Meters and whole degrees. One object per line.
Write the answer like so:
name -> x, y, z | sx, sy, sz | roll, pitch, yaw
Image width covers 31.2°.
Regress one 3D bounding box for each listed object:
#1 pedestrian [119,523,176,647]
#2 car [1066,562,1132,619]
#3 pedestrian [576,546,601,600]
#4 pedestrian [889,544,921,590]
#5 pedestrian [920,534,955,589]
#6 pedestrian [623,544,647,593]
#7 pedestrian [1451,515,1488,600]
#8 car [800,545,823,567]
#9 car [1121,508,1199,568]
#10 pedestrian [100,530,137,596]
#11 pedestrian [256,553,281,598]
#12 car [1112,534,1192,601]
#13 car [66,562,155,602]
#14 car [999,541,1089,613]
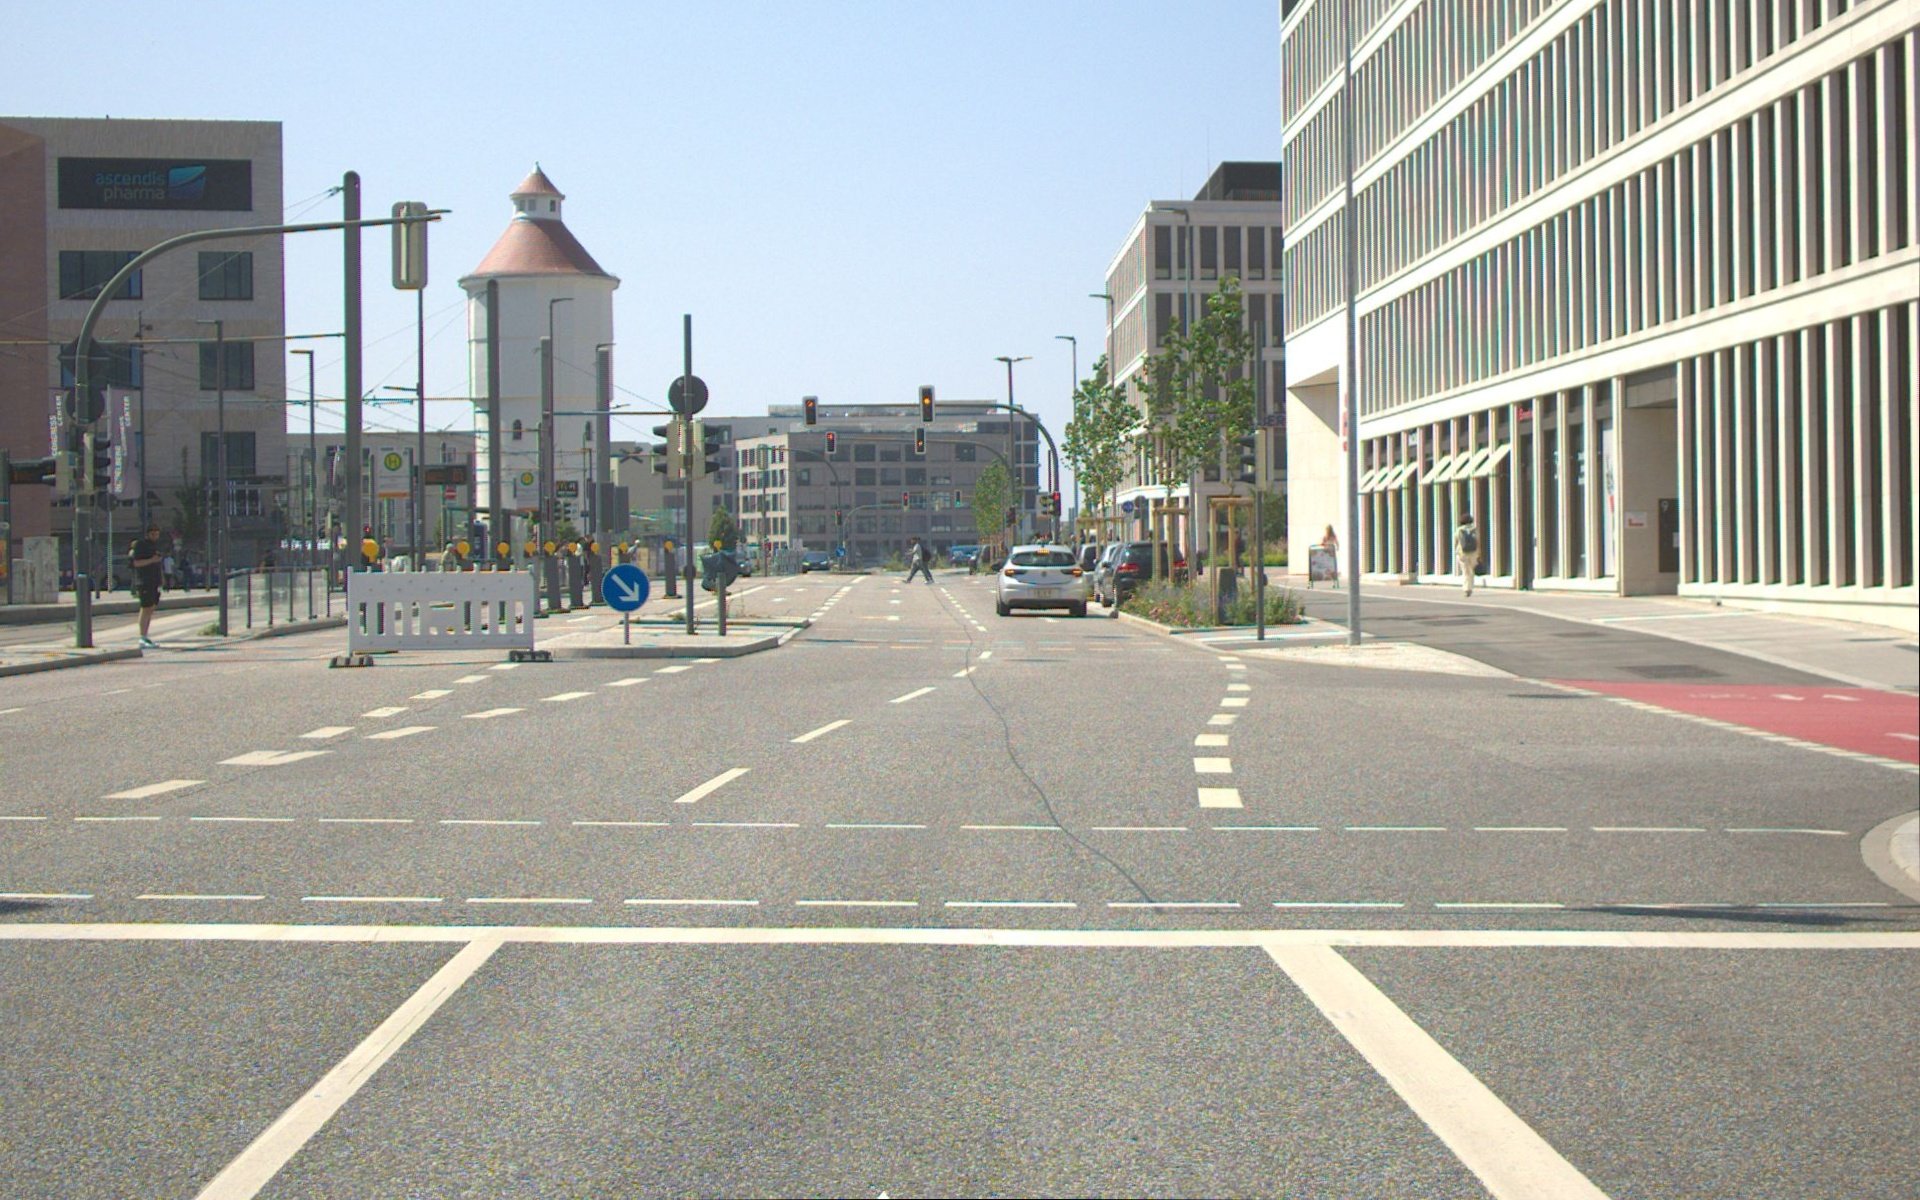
pedestrian -> -12.135, -0.229, 51.351 | 0.653, 1.827, 0.661 | 1, 1, 4
car -> 3.735, -0.267, 92.618 | 1.556, 1.467, 3.470 | -1, 1, -1
pedestrian -> -12.946, -0.935, 119.829 | 0.766, 1.884, 0.692 | -1, 1, 0
pedestrian -> -2.010, -1.216, 125.274 | 0.893, 1.668, 1.013 | -1, 1, -19
pedestrian -> -0.839, -1.410, 125.797 | 1.020, 2.007, 0.955 | -1, 1, -19
pedestrian -> -11.625, -1.132, 122.937 | 0.766, 1.728, 0.692 | -1, 1, 0
pedestrian -> 10.522, -0.879, 71.028 | 0.627, 1.736, 0.814 | -1, 1, -1
car -> -10.638, -3.135, 246.280 | 1.586, 1.525, 3.693 | 0, 0, -2
car -> 4.801, -1.492, 82.856 | 1.605, 1.383, 3.815 | 1, 1, -1
pedestrian -> -23.338, -1.028, 95.342 | 0.811, 1.814, 0.825 | 1, 1, 0
pedestrian -> -24.416, -0.862, 121.377 | 0.711, 1.566, 0.891 | -1, 1, -1
car -> 4.348, -0.717, 77.532 | 1.736, 1.469, 3.980 | 0, 0, 4
car -> -39.223, -0.815, 158.877 | 3.940, 1.810, 1.799 | 0, 0, -12
car -> 1.720, -0.462, 70.550 | 1.771, 1.390, 3.531 | 1, 0, 1
